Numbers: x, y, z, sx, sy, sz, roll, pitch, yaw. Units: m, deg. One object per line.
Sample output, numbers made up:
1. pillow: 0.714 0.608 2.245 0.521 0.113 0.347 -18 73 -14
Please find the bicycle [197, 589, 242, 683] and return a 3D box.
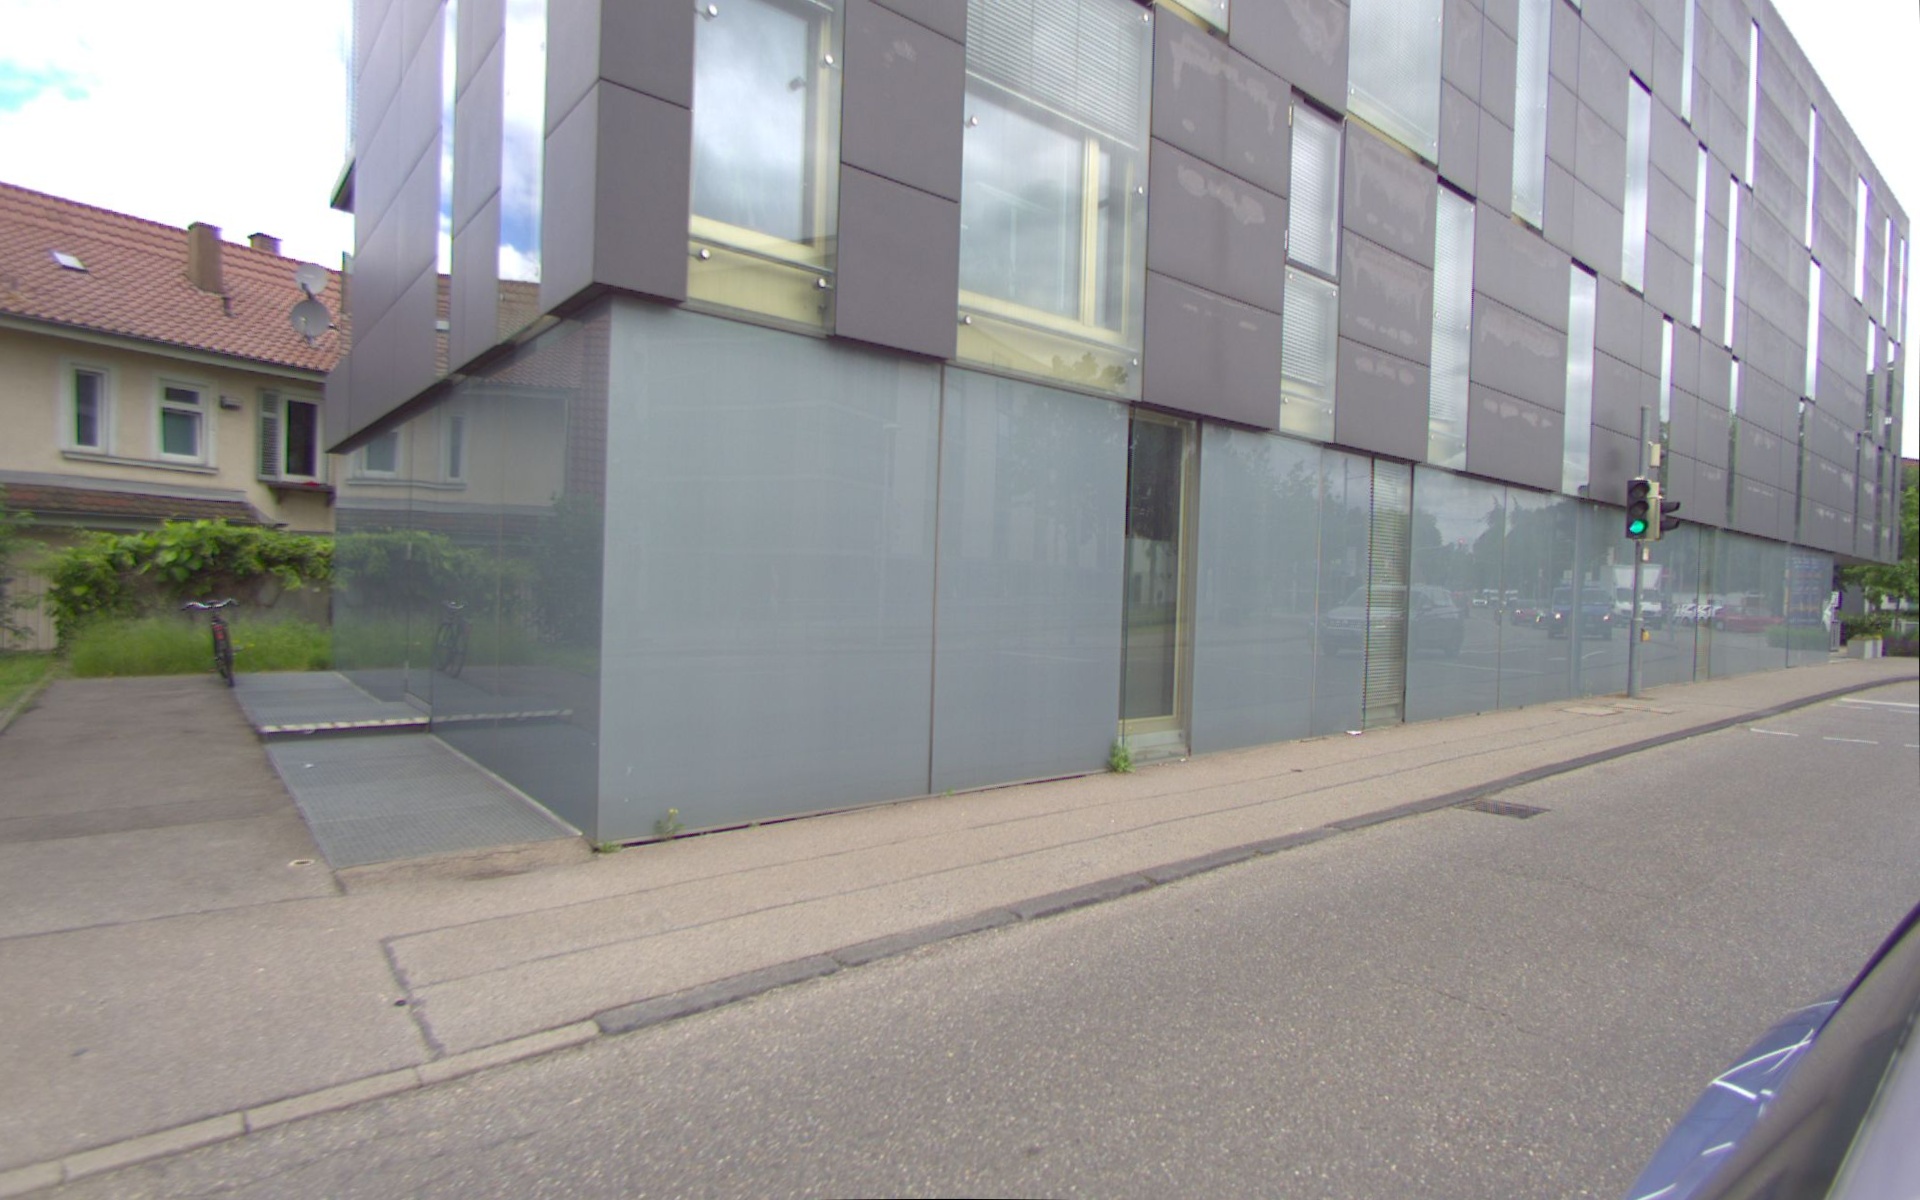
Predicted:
1. bicycle: -9.050 0.400 12.342 0.365 0.987 1.965 1 2 -38
